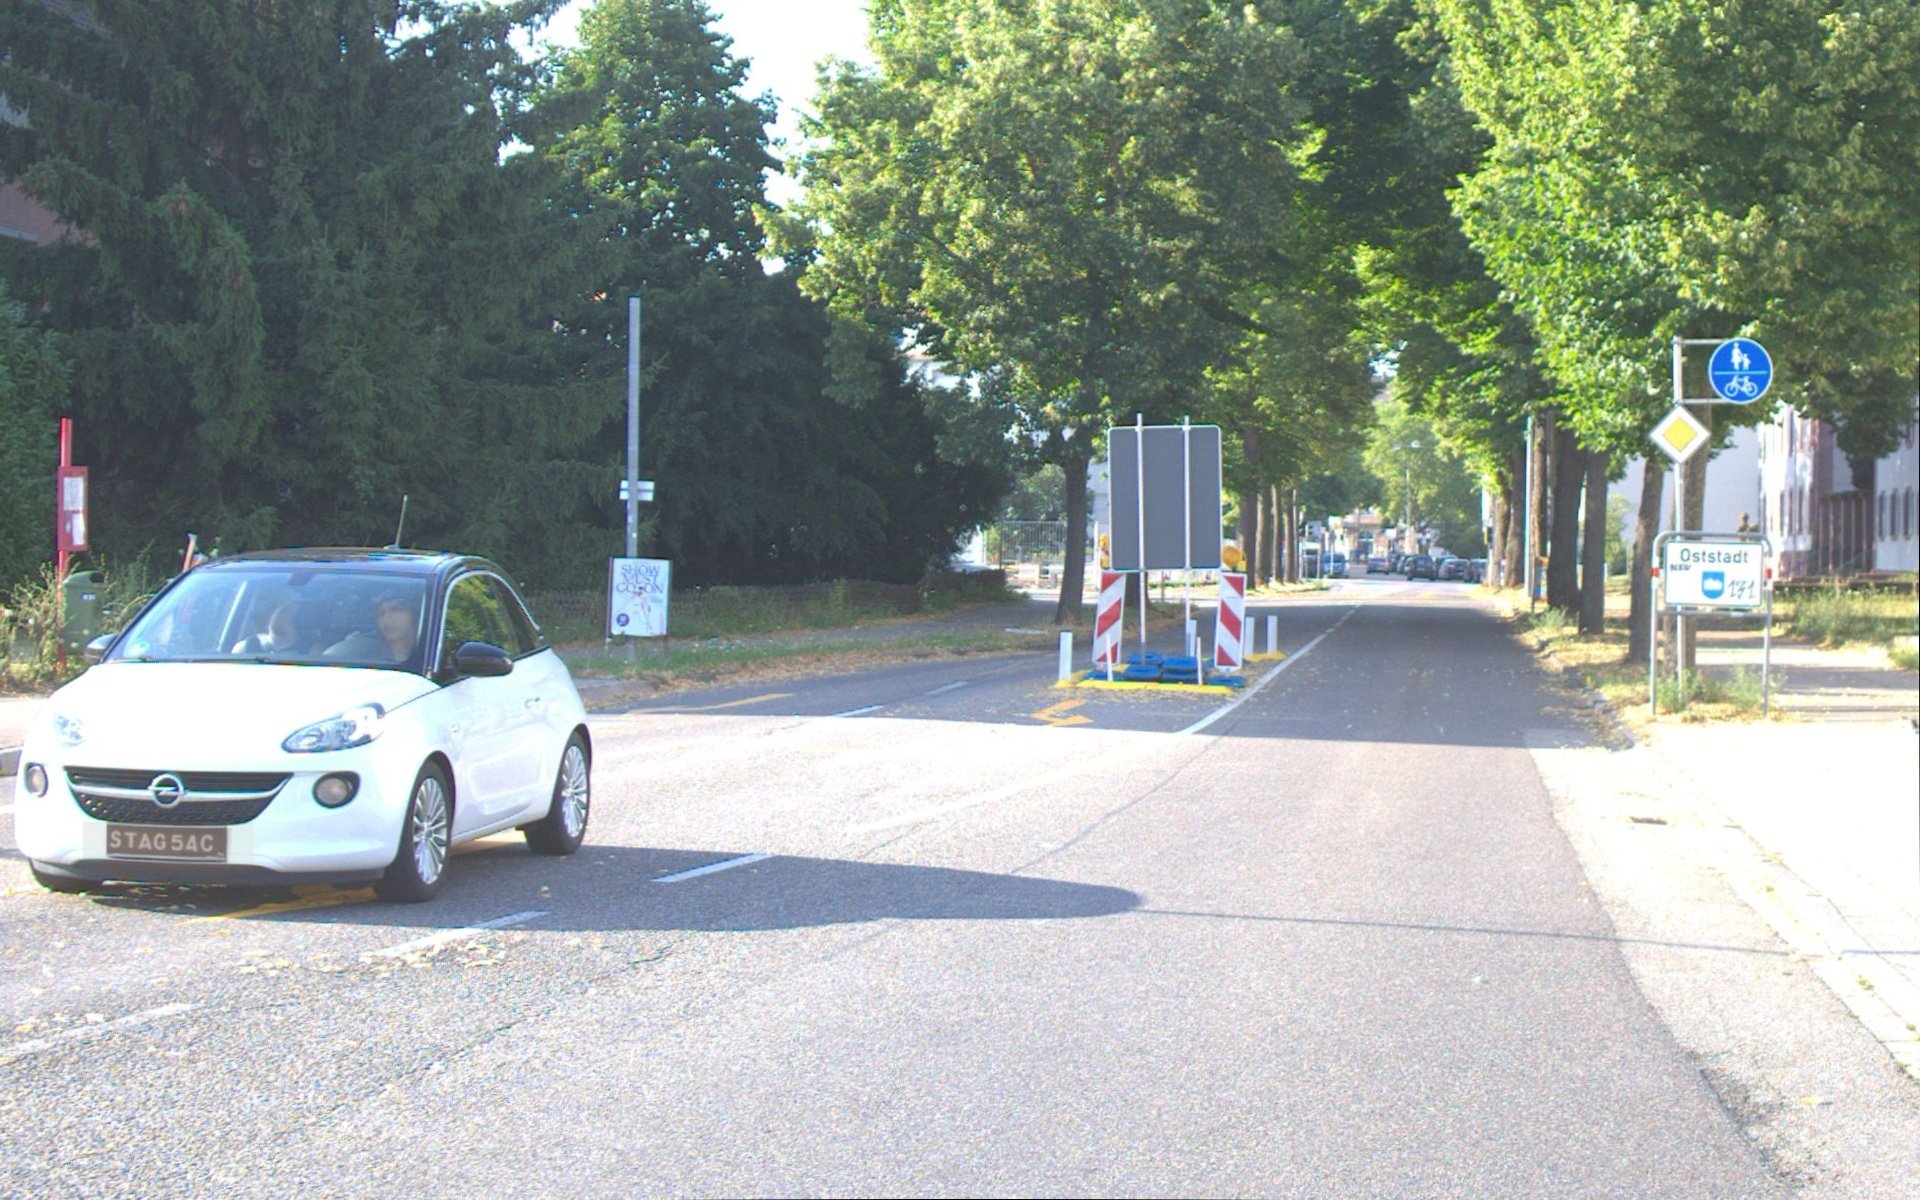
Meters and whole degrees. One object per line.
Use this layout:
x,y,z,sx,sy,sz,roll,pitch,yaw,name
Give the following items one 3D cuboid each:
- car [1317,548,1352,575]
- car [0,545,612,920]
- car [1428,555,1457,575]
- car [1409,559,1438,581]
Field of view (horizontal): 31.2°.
24.806,-2.545,227.851,1.994,1.682,4.000,1,0,2,car
-2.870,0.492,15.251,1.759,1.416,3.623,2,1,9,car
35.138,-2.531,250.409,1.841,1.381,3.999,0,0,5,car
30.971,-2.001,229.948,1.714,1.481,3.999,0,0,4,car
